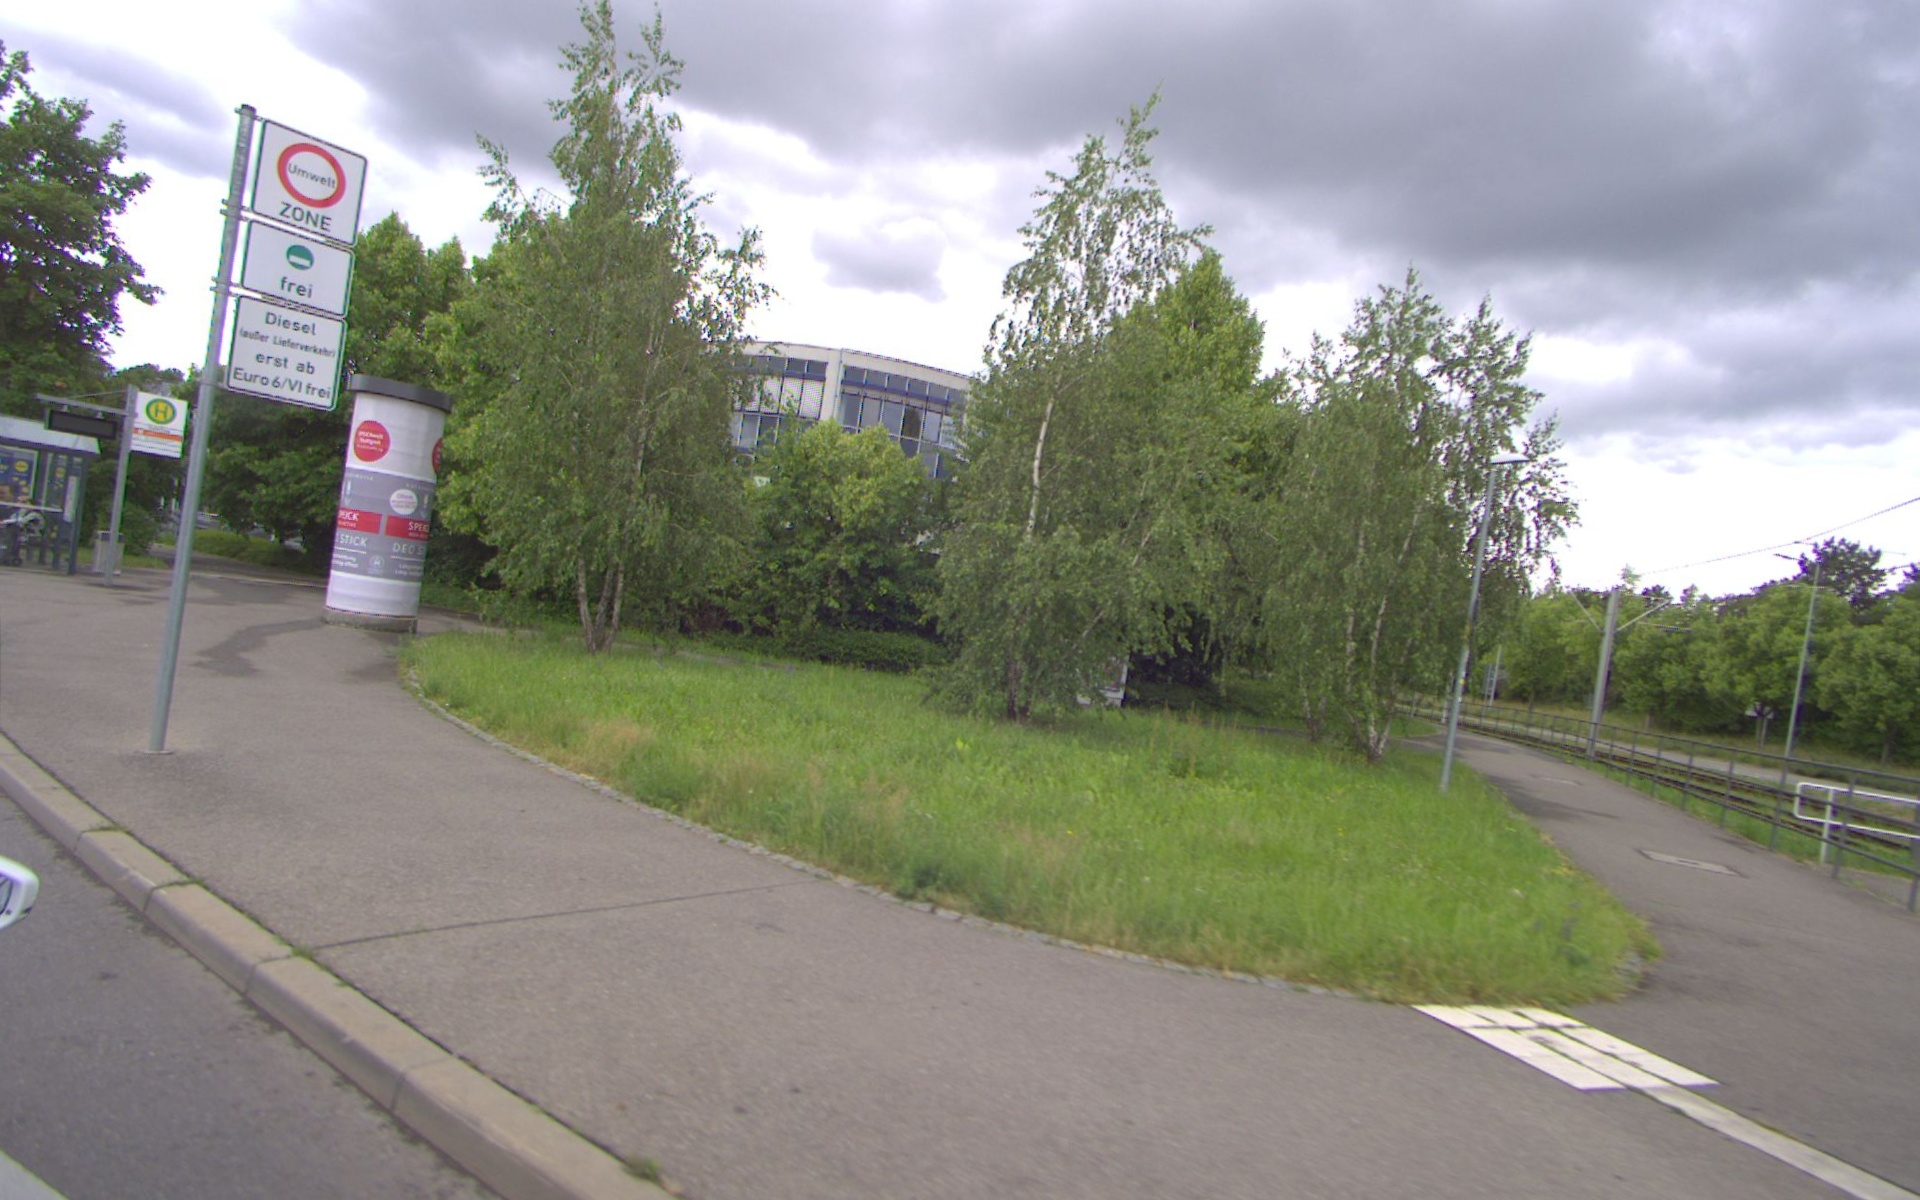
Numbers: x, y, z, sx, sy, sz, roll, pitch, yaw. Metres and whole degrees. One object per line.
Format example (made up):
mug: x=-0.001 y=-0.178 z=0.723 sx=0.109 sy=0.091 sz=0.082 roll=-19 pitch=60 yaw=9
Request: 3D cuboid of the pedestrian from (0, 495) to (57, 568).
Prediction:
pedestrian: x=-17.894 y=-1.314 z=19.039 sx=0.758 sy=1.267 sz=0.776 roll=8 pitch=-1 yaw=-1

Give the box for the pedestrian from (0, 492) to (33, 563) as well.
pedestrian: x=-18.952 y=-1.467 z=19.902 sx=0.581 sy=1.331 sz=0.727 roll=7 pitch=-1 yaw=42
